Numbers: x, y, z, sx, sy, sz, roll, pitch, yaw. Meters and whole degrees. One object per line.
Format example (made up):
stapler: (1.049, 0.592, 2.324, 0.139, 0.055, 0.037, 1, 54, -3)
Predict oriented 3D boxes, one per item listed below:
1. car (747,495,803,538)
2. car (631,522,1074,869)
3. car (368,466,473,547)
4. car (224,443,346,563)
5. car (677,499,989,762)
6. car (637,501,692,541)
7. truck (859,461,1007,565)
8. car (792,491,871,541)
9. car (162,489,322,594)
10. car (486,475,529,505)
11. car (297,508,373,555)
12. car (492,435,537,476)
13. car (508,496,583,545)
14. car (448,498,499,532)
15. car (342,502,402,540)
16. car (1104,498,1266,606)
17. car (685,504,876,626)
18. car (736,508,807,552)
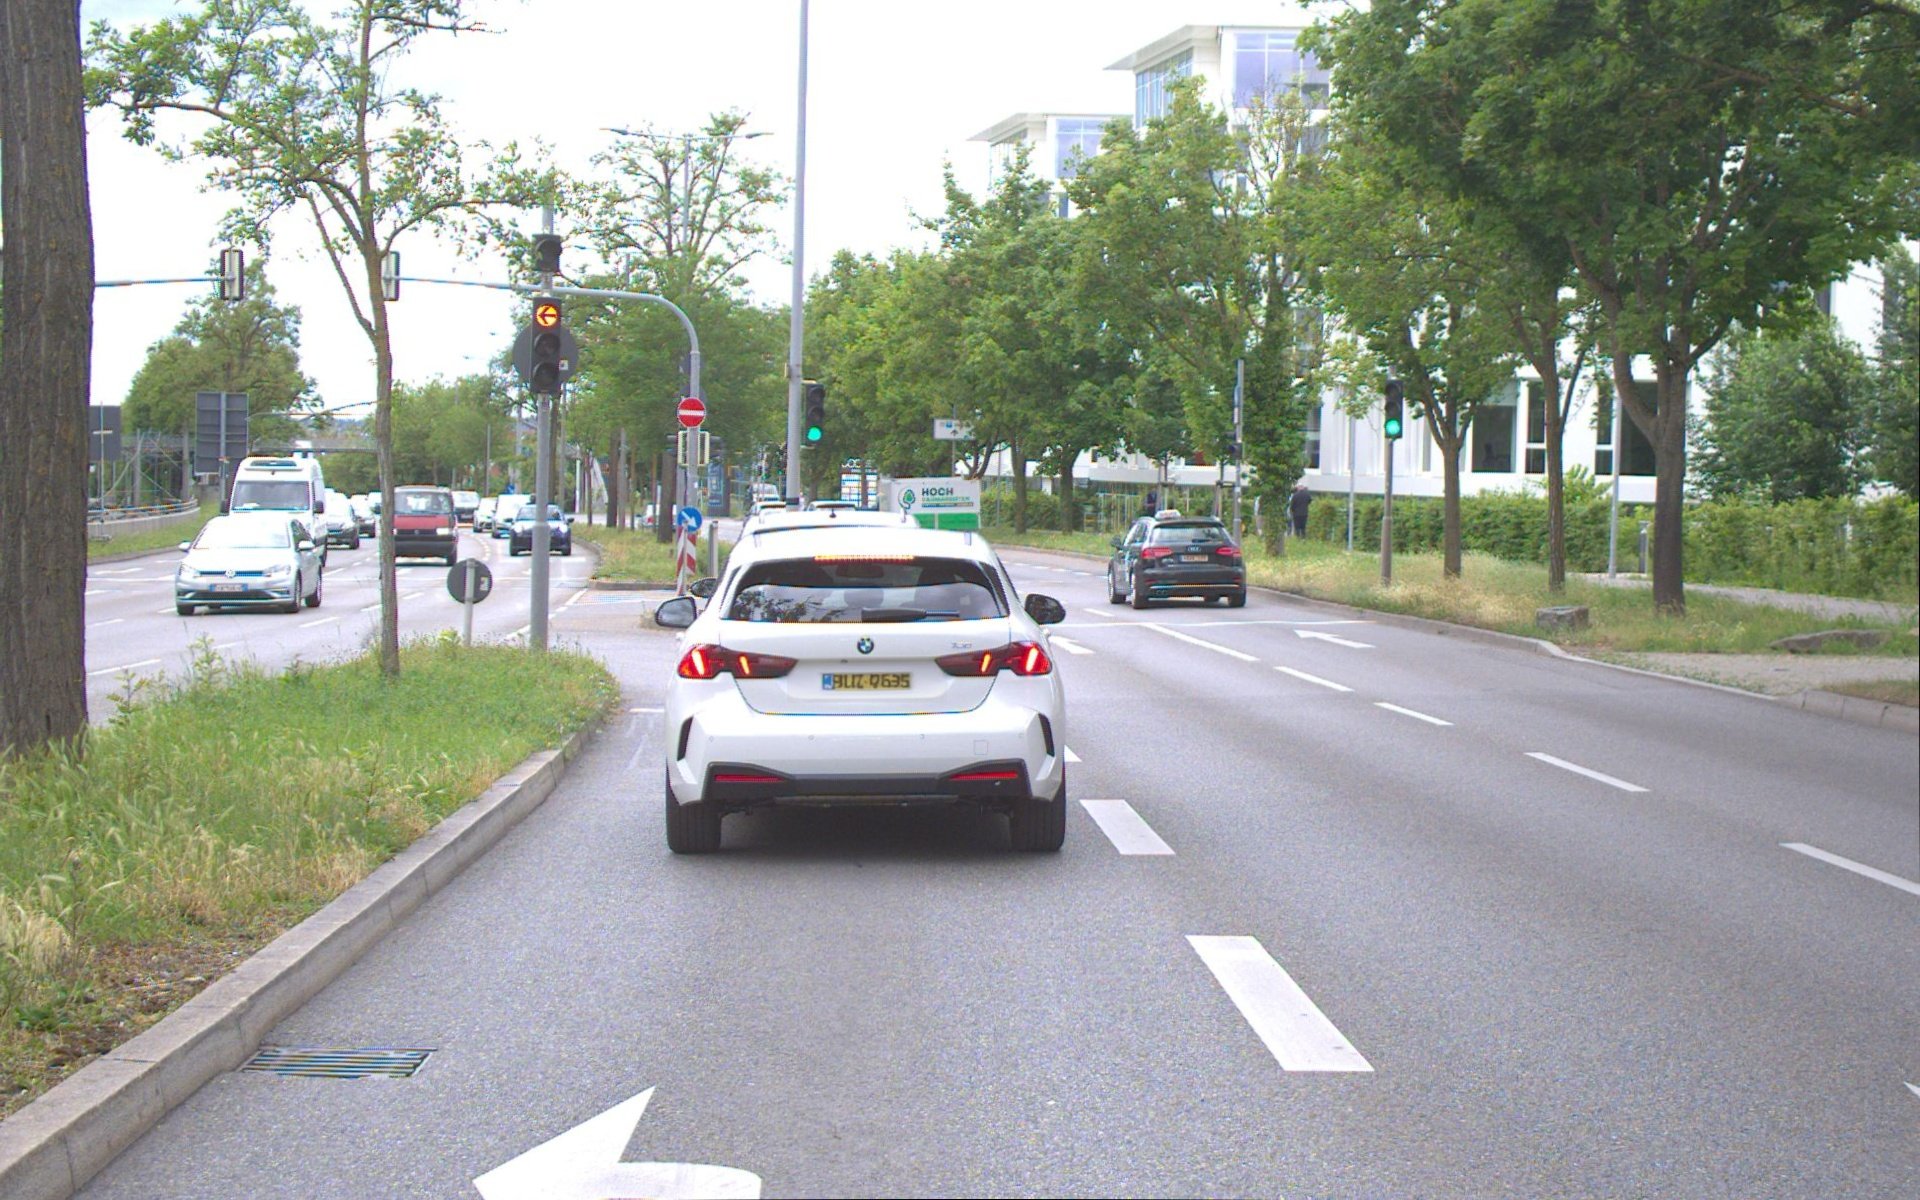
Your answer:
car: (-6.813, -3.078, 126.465, 1.993, 1.485, 4.001, 1, 2, -4)
car: (-0.416, 0.373, 16.626, 1.863, 1.444, 4.000, 1, 1, 1)
car: (-13.385, -2.321, 85.562, 1.935, 1.911, 4.974, 1, 1, -2)
car: (-15.772, -2.269, 80.580, 1.993, 2.625, 5.876, 2, 1, -4)
car: (-0.837, 0.162, 24.238, 1.993, 1.666, 4.000, 1, 1, 0)
car: (-11.405, -3.075, 132.995, 1.993, 1.485, 4.001, 1, 2, -4)
truck: (-0.759, -2.215, 88.111, 2.858, 2.511, 6.289, 1, 1, -9)
car: (-4.001, -2.597, 106.377, 1.993, 1.503, 4.001, 0, 2, -8)
car: (-10.723, -0.898, 51.587, 1.753, 1.439, 4.135, 2, 1, -4)
car: (-26.251, -6.376, 199.577, 1.993, 1.612, 4.001, 3, 1, -1)
car: (-19.164, -2.102, 105.527, 1.708, 1.414, 3.803, 0, 1, -1)
car: (-23.577, -7.634, 182.084, 1.993, 2.004, 4.325, 2, 1, -4)
car: (-11.719, -2.250, 97.425, 1.753, 1.366, 3.780, 0, 1, -1)
car: (-22.553, -3.958, 159.431, 1.993, 1.485, 4.001, 1, 2, -4)
car: (-22.101, -2.971, 129.310, 1.708, 1.414, 3.803, 0, 1, -1)
car: (3.477, -0.771, 53.802, 1.993, 1.590, 4.001, 1, 1, -4)
car: (-2.320, -0.475, 45.446, 1.994, 1.503, 4.000, 1, 1, 4)
car: (-6.802, -2.530, 123.824, 1.993, 1.503, 4.001, 1, 1, -11)
